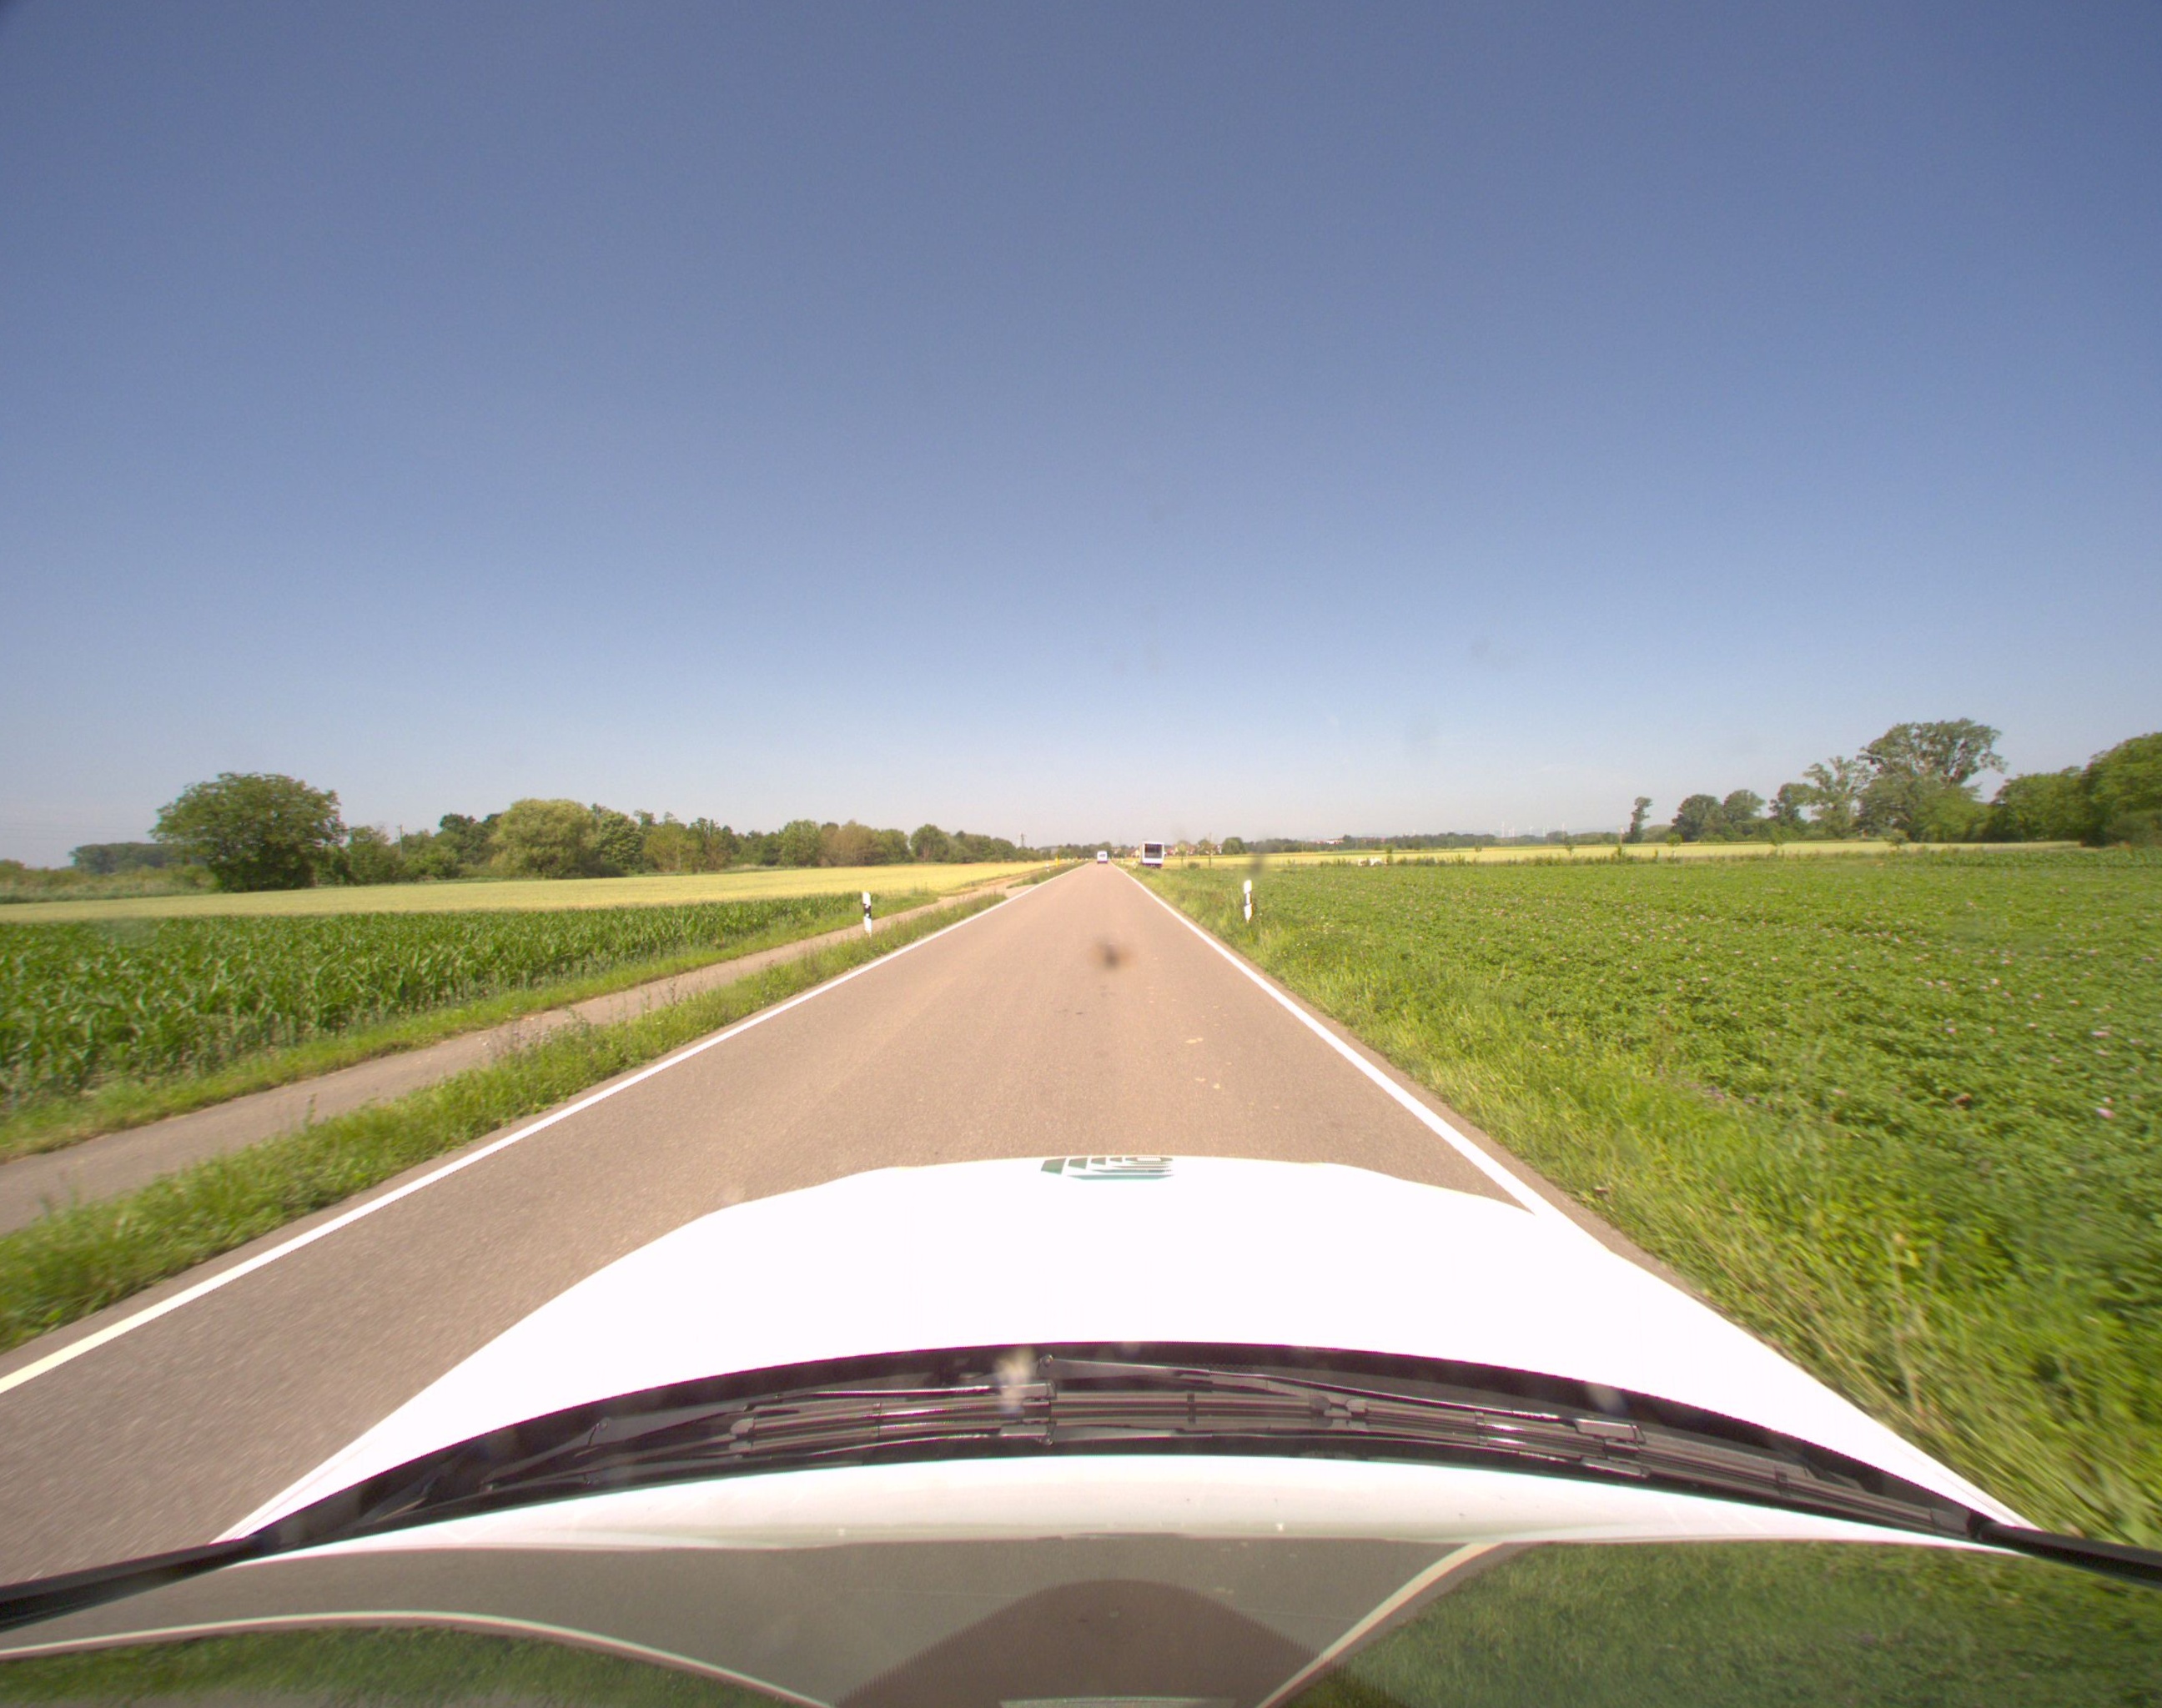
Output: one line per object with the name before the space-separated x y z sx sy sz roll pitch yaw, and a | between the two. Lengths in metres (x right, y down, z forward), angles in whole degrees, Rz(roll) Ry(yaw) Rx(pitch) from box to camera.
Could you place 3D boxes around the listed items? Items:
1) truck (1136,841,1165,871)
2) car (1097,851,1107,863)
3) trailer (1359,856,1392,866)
truck | 7.321 0.257 86.017 2.328 2.942 7.006 2 -1 0
car | 4.280 0.657 165.671 2.099 2.304 5.497 0 -1 1
trailer | 34.763 0.838 96.163 3.560 1.189 1.669 0 -1 13
